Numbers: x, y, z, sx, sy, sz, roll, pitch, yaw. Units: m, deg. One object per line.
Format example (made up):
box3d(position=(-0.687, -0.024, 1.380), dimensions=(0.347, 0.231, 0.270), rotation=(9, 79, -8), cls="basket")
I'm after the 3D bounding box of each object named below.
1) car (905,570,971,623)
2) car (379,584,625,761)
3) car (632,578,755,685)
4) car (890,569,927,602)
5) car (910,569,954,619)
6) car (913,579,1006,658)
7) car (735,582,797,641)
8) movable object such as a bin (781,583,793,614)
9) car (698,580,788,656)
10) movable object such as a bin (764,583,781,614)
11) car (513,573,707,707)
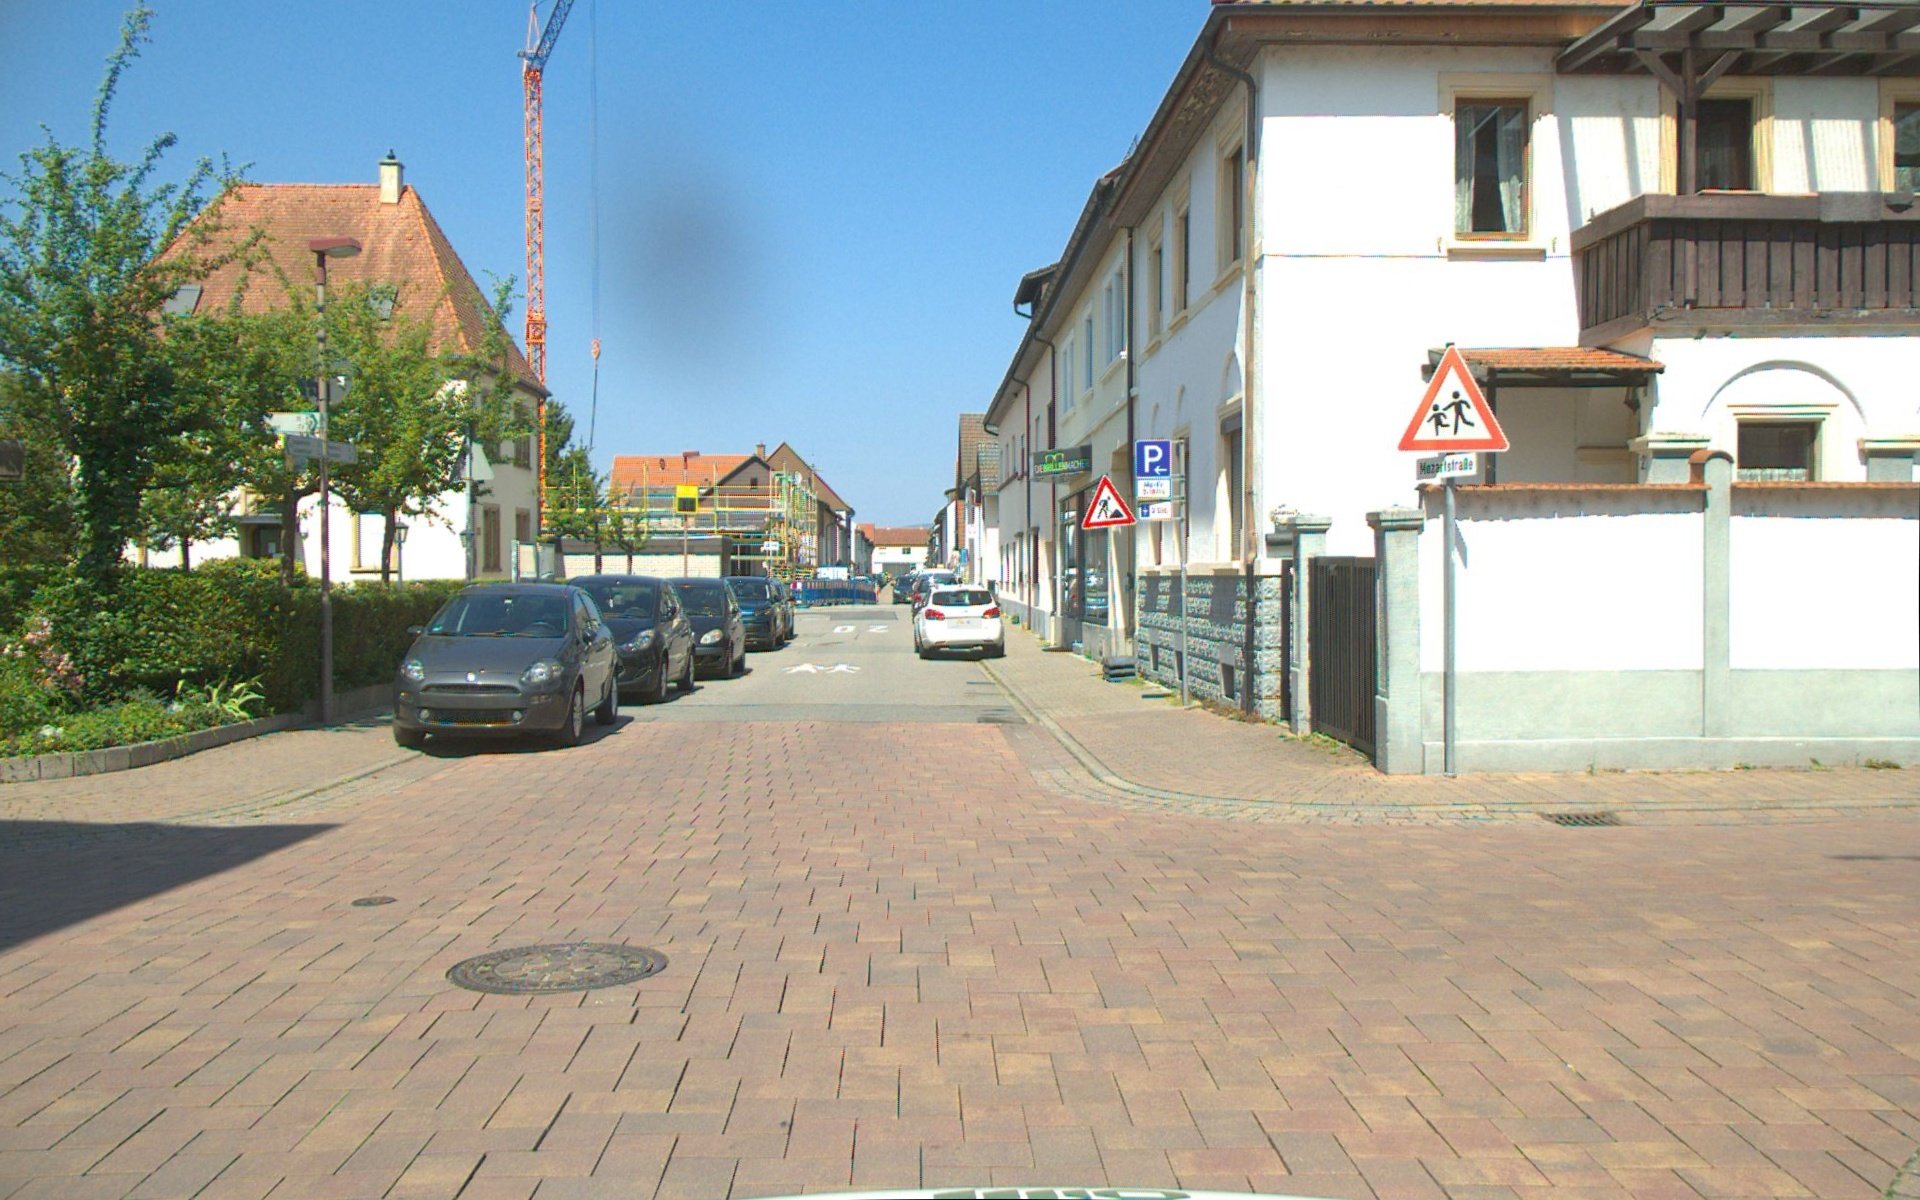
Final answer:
box3d(position=(-0.758, -0.144, 54.742), dimensions=(1.848, 1.583, 3.891), rotation=(-4, 1, -5), cls="car")
box3d(position=(-4.396, 0.614, 16.414), dimensions=(1.669, 1.523, 3.853), rotation=(0, 1, -5), cls="car")
box3d(position=(-4.441, 0.474, 27.973), dimensions=(1.605, 1.657, 3.766), rotation=(0, 1, -2), cls="car")
box3d(position=(-2.744, -0.784, 87.382), dimensions=(1.844, 1.697, 4.151), rotation=(0, 1, -3), cls="car")
box3d(position=(-1.034, -0.239, 60.232), dimensions=(1.532, 1.641, 3.542), rotation=(0, 3, -2), cls="car")
box3d(position=(0.023, 0.336, 35.241), dimensions=(1.847, 1.569, 4.243), rotation=(0, 1, 1), cls="car")
box3d(position=(-5.151, 0.261, 44.172), dimensions=(1.408, 1.500, 3.784), rotation=(0, 1, -3), cls="car")
box3d(position=(-6.666, -0.048, 63.842), dimensions=(0.424, 1.176, 0.363), rotation=(0, 1, -12), cls="movable object such as a bin")
box3d(position=(-5.017, 0.366, 38.738), dimensions=(1.790, 1.659, 4.214), rotation=(0, 1, -4), cls="car")
box3d(position=(-7.168, -0.056, 63.329), dimensions=(0.610, 1.176, 0.676), rotation=(0, 1, -9), cls="movable object such as a bin")
box3d(position=(-4.598, 0.468, 22.291), dimensions=(1.778, 1.633, 4.024), rotation=(0, 1, -1), cls="car")
